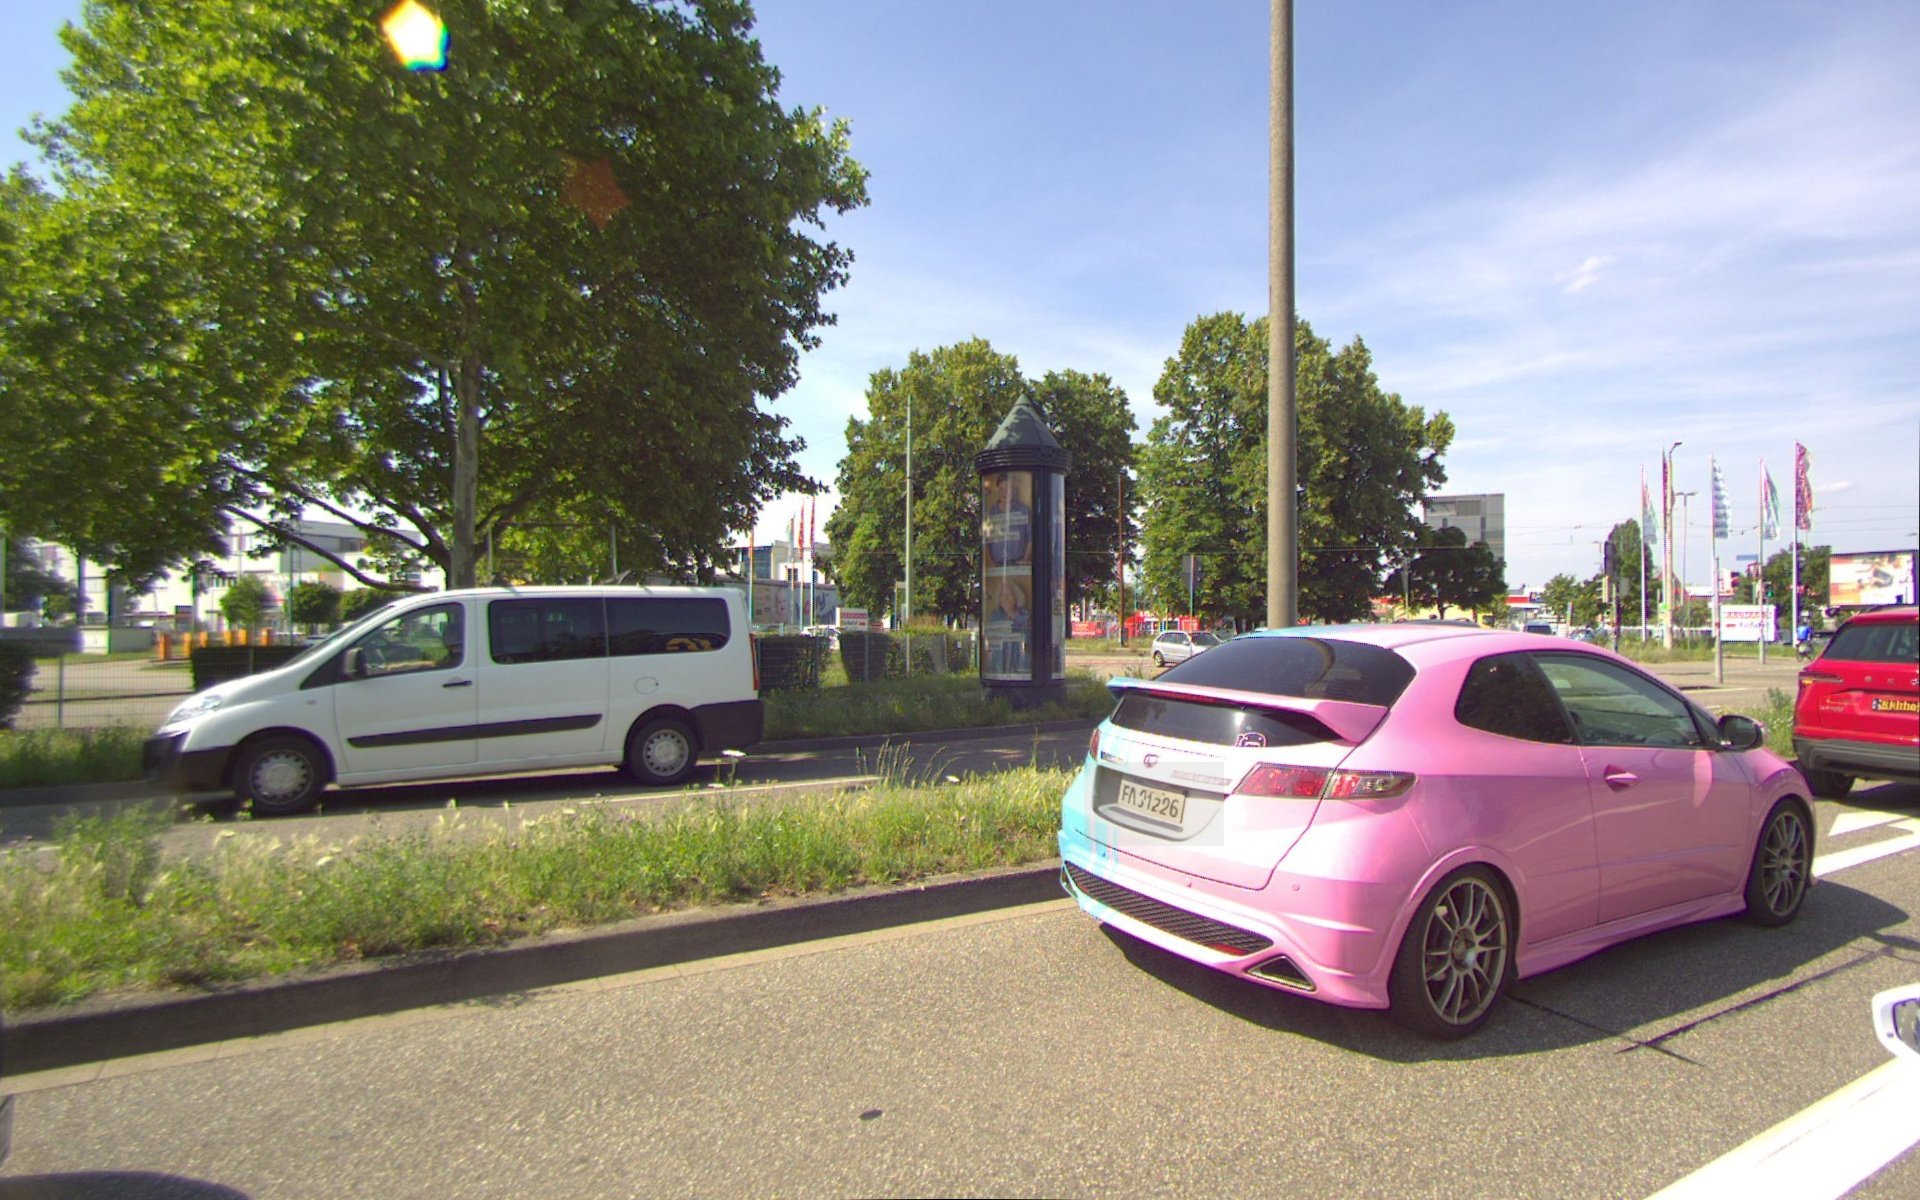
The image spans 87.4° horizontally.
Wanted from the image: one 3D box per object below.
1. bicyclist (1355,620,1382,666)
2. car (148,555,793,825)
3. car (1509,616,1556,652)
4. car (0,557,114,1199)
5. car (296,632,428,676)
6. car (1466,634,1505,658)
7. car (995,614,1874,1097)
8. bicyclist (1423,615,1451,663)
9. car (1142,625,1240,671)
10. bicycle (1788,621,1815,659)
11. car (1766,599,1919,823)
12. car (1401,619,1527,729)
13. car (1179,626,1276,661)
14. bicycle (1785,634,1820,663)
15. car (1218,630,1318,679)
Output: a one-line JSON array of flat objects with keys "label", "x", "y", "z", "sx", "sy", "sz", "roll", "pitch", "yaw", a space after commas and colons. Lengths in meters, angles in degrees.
[{"label": "bicyclist", "x": 15.289, "y": 1.597, "z": 37.588, "sx": 0.883, "sy": 1.668, "sz": 0.787, "roll": -1, "pitch": 0, "yaw": 24}, {"label": "car", "x": -4.410, "y": 0.736, "z": 9.786, "sx": 5.152, "sy": 2.040, "sz": 1.984, "roll": 1, "pitch": -2, "yaw": -31}, {"label": "car", "x": 42.612, "y": 2.540, "z": 74.922, "sx": 1.960, "sy": 2.566, "sz": 4.642, "roll": -1, "pitch": -2, "yaw": 16}, {"label": "car", "x": -3.591, "y": 0.644, "z": 0.965, "sx": 4.002, "sy": 1.503, "sz": 1.618, "roll": 1, "pitch": 0, "yaw": -31}, {"label": "car", "x": -23.884, "y": 2.112, "z": 40.333, "sx": 1.783, "sy": 1.642, "sz": 4.339, "roll": -1, "pitch": -2, "yaw": 23}, {"label": "car", "x": 39.421, "y": 3.419, "z": 75.429, "sx": 1.960, "sy": 1.706, "sz": 4.001, "roll": -1, "pitch": -2, "yaw": 18}, {"label": "car", "x": 2.480, "y": 0.801, "z": 4.866, "sx": 4.420, "sy": 1.408, "sz": 1.694, "roll": 1, "pitch": 0, "yaw": -31}, {"label": "bicyclist", "x": 17.752, "y": 1.441, "z": 37.376, "sx": 0.883, "sy": 1.738, "sz": 0.782, "roll": -1, "pitch": 0, "yaw": 24}, {"label": "car", "x": 8.543, "y": 1.761, "z": 37.513, "sx": 1.695, "sy": 1.624, "sz": 4.148, "roll": 0, "pitch": -2, "yaw": -18}, {"label": "bicycle", "x": 37.451, "y": 1.779, "z": 44.708, "sx": 0.982, "sy": 1.636, "sz": 0.668, "roll": 1, "pitch": -2, "yaw": -35}, {"label": "car", "x": 8.849, "y": 0.830, "z": 8.460, "sx": 4.540, "sy": 1.614, "sz": 1.773, "roll": 1, "pitch": -1, "yaw": -31}, {"label": "car", "x": 9.331, "y": 1.280, "z": 18.609, "sx": 1.835, "sy": 1.773, "sz": 4.394, "roll": -1, "pitch": -2, "yaw": 27}, {"label": "car", "x": 11.571, "y": 1.845, "z": 43.378, "sx": 3.921, "sy": 1.439, "sz": 2.000, "roll": -1, "pitch": -1, "yaw": 20}, {"label": "bicycle", "x": 37.579, "y": 2.163, "z": 44.785, "sx": 2.225, "sy": 1.273, "sz": 0.667, "roll": 1, "pitch": -2, "yaw": -36}, {"label": "car", "x": 9.661, "y": 1.665, "z": 31.812, "sx": 1.731, "sy": 1.407, "sz": 3.999, "roll": -1, "pitch": -1, "yaw": -3}]
